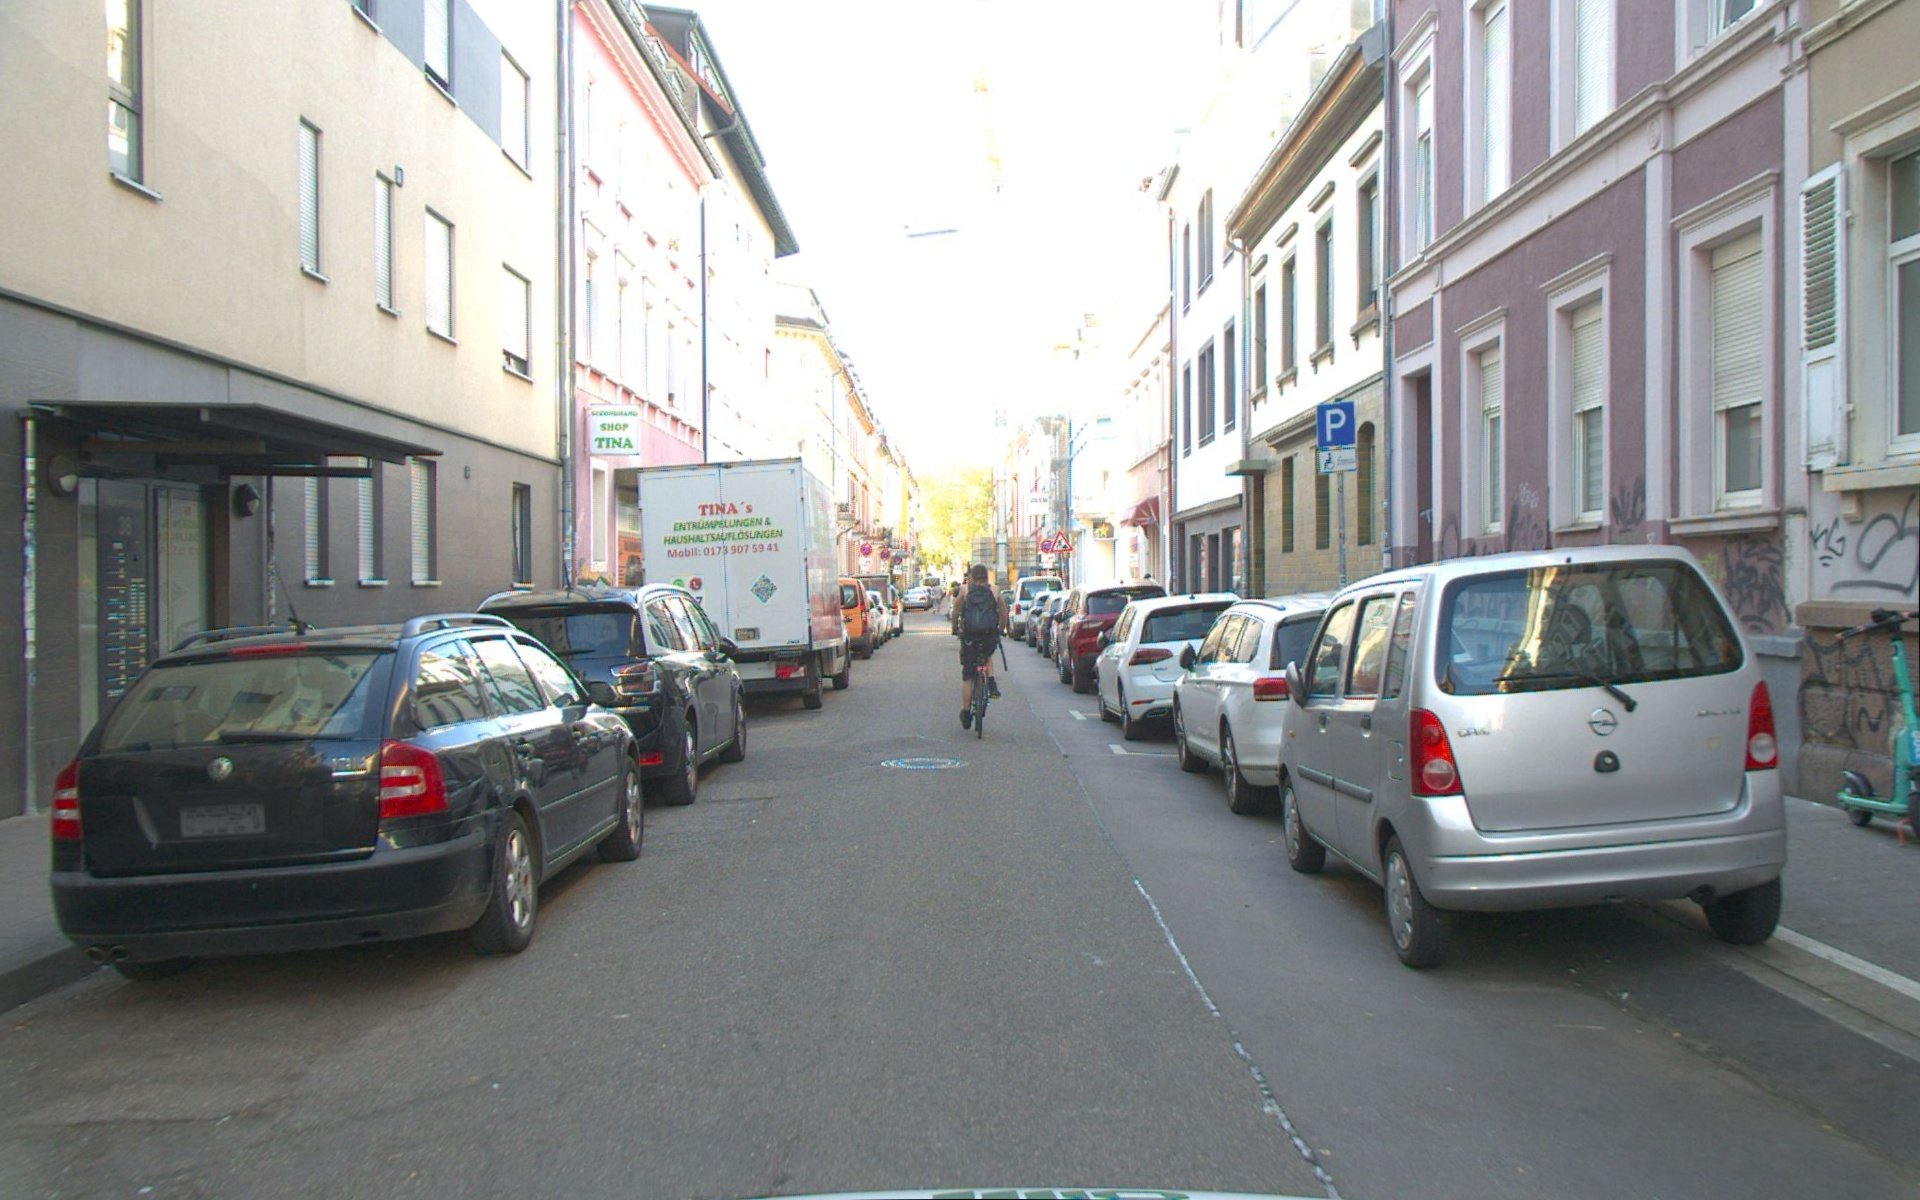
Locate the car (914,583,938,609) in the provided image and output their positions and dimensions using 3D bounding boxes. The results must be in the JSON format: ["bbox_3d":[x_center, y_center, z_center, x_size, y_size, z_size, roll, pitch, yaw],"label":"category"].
[{"bbox_3d":[-2.530,-0.308,124.271,1.714,1.853,3.795,-1,0,0],"label":"car"}]

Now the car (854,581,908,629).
[{"bbox_3d":[-2.751,0.179,58.150,1.714,1.600,3.795,-1,0,0],"label":"car"}]

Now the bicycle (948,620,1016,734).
[{"bbox_3d":[0.213,0.781,17.470,0.663,1.093,1.941,1,0,-1],"label":"bicycle"}]

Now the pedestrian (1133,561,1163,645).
[{"bbox_3d":[4.682,0.073,41.156,0.631,2.049,0.763,1,0,-1],"label":"pedestrian"}]

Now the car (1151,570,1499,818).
[{"bbox_3d":[2.672,0.619,13.195,1.662,1.570,4.628,-2,0,-1],"label":"car"}]

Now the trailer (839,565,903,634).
[{"bbox_3d":[-2.862,-0.012,53.835,1.843,2.129,3.737,-1,0,0],"label":"trailer"}]

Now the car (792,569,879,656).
[{"bbox_3d":[-2.839,0.284,38.511,1.717,1.848,4.077,-2,0,-1],"label":"car"}]

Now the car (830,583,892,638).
[{"bbox_3d":[-2.913,0.306,49.281,1.620,1.564,3.634,-1,0,0],"label":"car"}]

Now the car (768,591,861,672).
[{"bbox_3d":[-2.956,0.611,34.192,1.546,1.509,3.564,-3,0,0],"label":"car"}]

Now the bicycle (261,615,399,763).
[{"bbox_3d":[-5.532,0.747,14.619,0.480,1.185,1.773,-2,0,1],"label":"bicycle"}]

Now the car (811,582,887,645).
[{"bbox_3d":[-2.894,0.350,43.952,1.714,1.564,4.319,-1,0,0],"label":"car"}]

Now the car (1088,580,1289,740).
[{"bbox_3d":[2.489,0.610,18.886,1.652,1.570,4.045,-2,0,-1],"label":"car"}]

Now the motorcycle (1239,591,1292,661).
[{"bbox_3d":[5.072,0.420,27.539,0.490,1.114,1.878,-2,0,0],"label":"motorcycle"}]

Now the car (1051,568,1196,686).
[{"bbox_3d":[2.573,0.379,26.993,1.879,1.735,4.366,-1,1,0],"label":"car"}]

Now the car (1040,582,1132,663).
[{"bbox_3d":[2.619,0.454,35.095,1.632,1.531,3.816,-3,0,1],"label":"car"}]

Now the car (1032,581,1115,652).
[{"bbox_3d":[2.670,0.378,39.688,1.613,1.500,3.970,-4,0,0],"label":"car"}]

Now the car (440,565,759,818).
[{"bbox_3d":[-2.778,0.595,13.700,1.682,1.679,4.245,-3,1,-1],"label":"car"}]

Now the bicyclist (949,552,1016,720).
[{"bbox_3d":[0.222,0.365,17.441,0.654,1.706,1.097,1,0,-1],"label":"bicyclist"}]

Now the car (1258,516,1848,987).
[{"bbox_3d":[2.548,0.569,7.977,1.525,1.742,3.558,1,0,-1],"label":"car"}]

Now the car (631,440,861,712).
[{"bbox_3d":[-2.916,-0.302,24.413,2.295,3.349,7.154,-2,0,0],"label":"car"}]

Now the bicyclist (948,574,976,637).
[{"bbox_3d":[0.049,0.144,42.152,0.657,1.594,0.716,1,0,-1],"label":"bicyclist"}]

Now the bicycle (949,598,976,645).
[{"bbox_3d":[0.060,0.532,42.089,0.635,1.149,2.135,1,0,0],"label":"bicycle"}]

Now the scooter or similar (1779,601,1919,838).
[{"bbox_3d":[5.178,0.622,9.242,0.441,1.203,1.368,-4,0,-1],"label":"scooter or similar"}]

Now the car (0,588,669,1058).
[{"bbox_3d":[-2.671,0.771,8.065,1.682,1.504,4.499,-3,1,-1],"label":"car"}]

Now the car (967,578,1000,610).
[{"bbox_3d":[1.196,-0.290,84.224,1.578,1.587,3.610,1,0,0],"label":"car"}]

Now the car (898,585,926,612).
[{"bbox_3d":[-3.093,-0.109,107.208,1.714,1.713,3.795,-1,0,0],"label":"car"}]

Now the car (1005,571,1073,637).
[{"bbox_3d":[2.380,0.111,50.652,1.715,1.911,3.970,-1,0,-3],"label":"car"}]

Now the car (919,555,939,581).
[{"bbox_3d":[-2.866,-2.959,153.218,1.714,2.358,3.795,-1,0,0],"label":"car"}]

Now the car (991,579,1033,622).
[{"bbox_3d":[2.135,0.023,68.126,1.578,1.662,3.610,1,0,0],"label":"car"}]

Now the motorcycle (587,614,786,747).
[{"bbox_3d":[-2.935,0.840,17.945,0.777,1.275,2.096,-2,1,41],"label":"motorcycle"}]

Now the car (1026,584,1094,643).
[{"bbox_3d":[2.713,0.360,45.591,1.714,1.513,3.800,-1,0,1],"label":"car"}]
